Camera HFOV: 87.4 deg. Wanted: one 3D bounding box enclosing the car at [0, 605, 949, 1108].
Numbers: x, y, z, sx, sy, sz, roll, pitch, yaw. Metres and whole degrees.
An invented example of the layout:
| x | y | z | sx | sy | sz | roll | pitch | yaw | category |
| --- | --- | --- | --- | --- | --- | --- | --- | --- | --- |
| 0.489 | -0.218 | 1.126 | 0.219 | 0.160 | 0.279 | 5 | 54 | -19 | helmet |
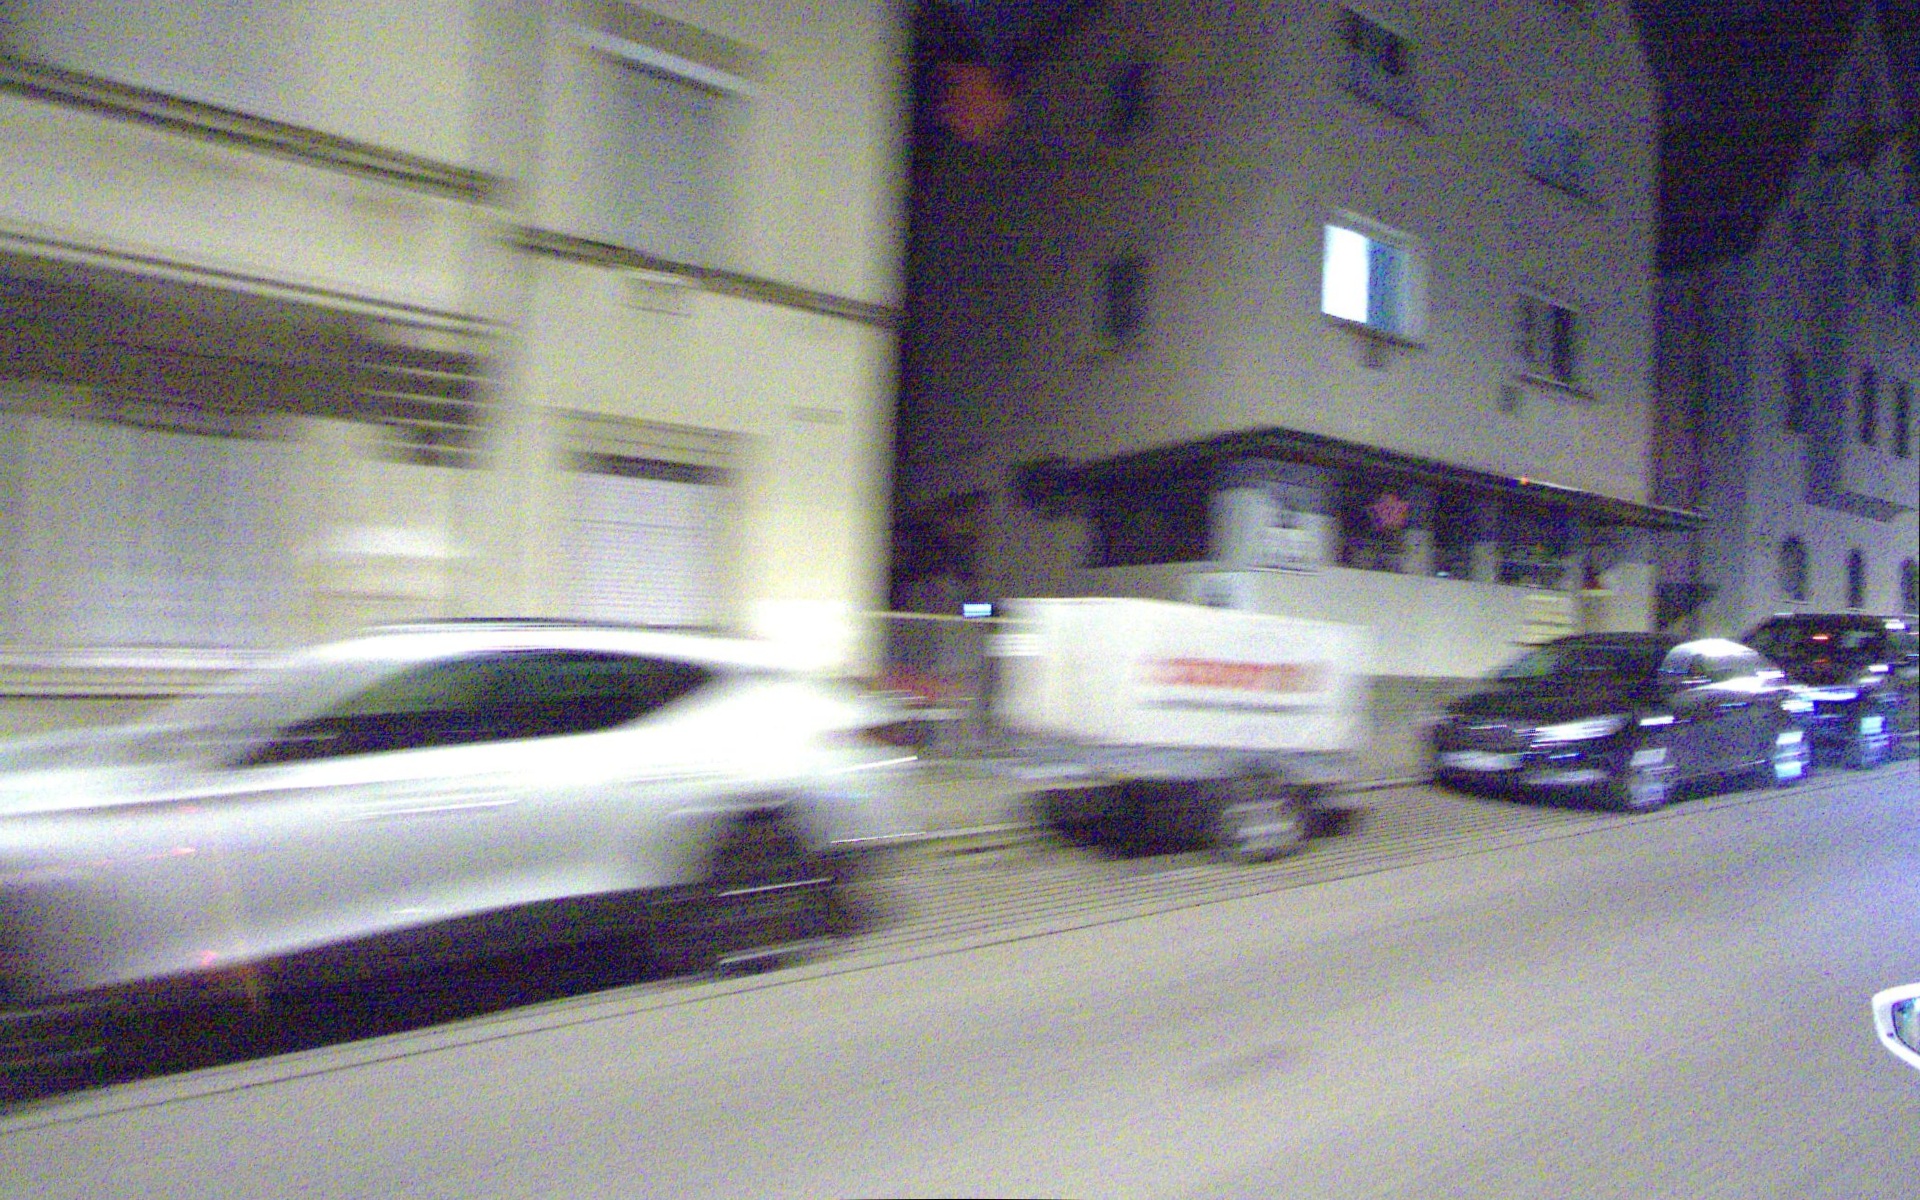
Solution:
| x | y | z | sx | sy | sz | roll | pitch | yaw | category |
| --- | --- | --- | --- | --- | --- | --- | --- | --- | --- |
| -2.346 | 0.807 | 4.437 | 4.300 | 1.504 | 1.804 | 1 | -1 | -32 | car |

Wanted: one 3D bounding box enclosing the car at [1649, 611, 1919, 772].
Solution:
| x | y | z | sx | sy | sz | roll | pitch | yaw | category |
| --- | --- | --- | --- | --- | --- | --- | --- | --- | --- |
| 10.643 | 0.992 | 12.366 | 4.491 | 1.640 | 1.826 | 1 | 0 | -30 | car |

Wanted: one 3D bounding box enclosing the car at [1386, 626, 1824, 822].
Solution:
| x | y | z | sx | sy | sz | roll | pitch | yaw | category |
| --- | --- | --- | --- | --- | --- | --- | --- | --- | --- |
| 6.298 | 1.003 | 9.671 | 4.493 | 1.466 | 1.825 | 1 | -1 | -32 | car |

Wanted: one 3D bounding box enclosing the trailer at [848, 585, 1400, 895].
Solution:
| x | y | z | sx | sy | sz | roll | pitch | yaw | category |
| --- | --- | --- | --- | --- | --- | --- | --- | --- | --- |
| 1.122 | 0.794 | 6.868 | 3.394 | 1.661 | 1.632 | 2 | 0 | -26 | trailer |
